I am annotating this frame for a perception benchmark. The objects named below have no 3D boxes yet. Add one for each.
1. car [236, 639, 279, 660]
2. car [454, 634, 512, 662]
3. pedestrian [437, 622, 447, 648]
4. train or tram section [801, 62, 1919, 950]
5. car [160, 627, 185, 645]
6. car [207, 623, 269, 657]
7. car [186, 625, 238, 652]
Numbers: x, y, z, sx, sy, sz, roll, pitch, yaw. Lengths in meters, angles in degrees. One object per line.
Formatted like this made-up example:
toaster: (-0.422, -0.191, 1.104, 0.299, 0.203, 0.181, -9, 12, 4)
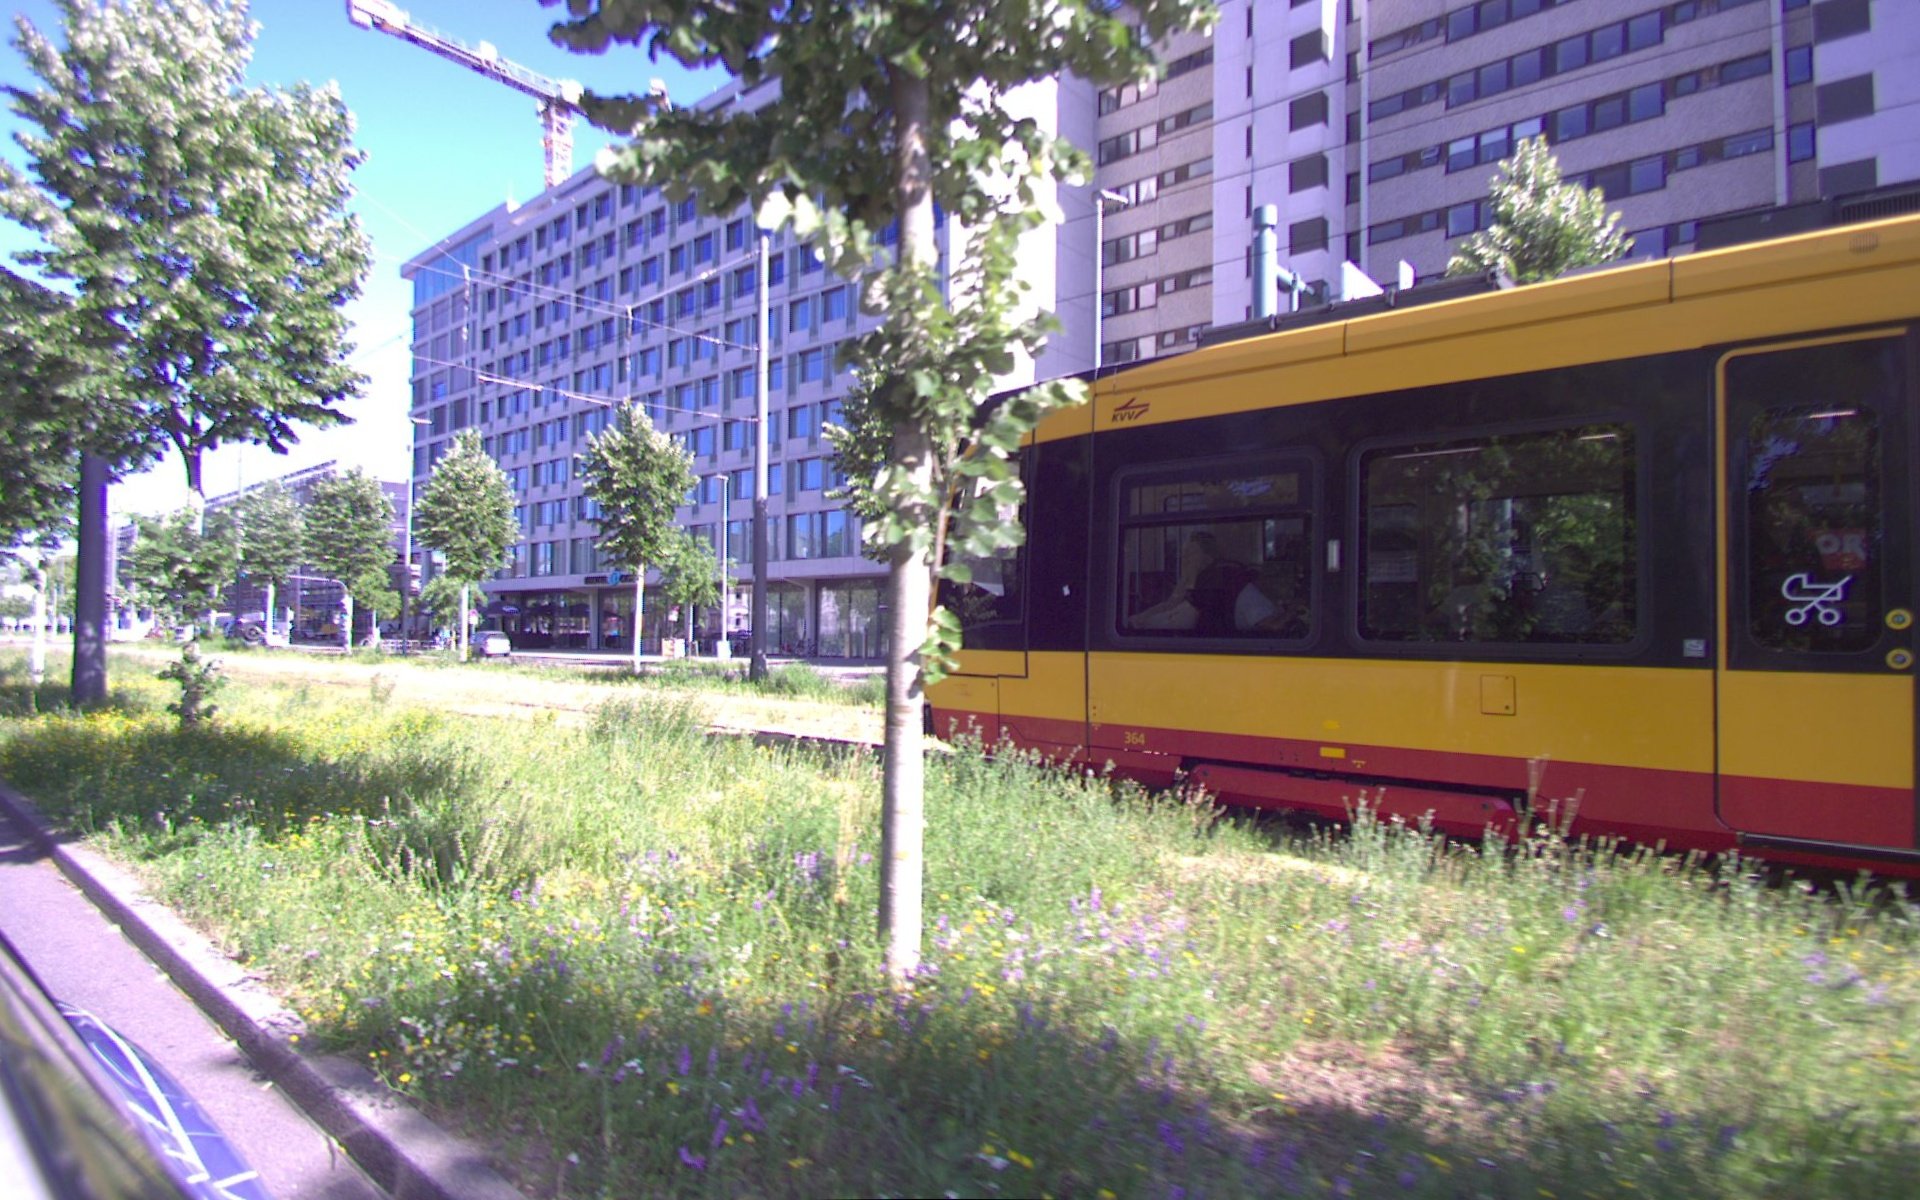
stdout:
car: (-53.592, 3.744, 77.211, 3.811, 1.519, 1.804, -1, -1, 41)
car: (-29.045, 2.901, 61.615, 3.771, 1.561, 1.841, -1, -1, 41)
pedestrian: (-36.178, 2.430, 70.652, 0.501, 1.854, 0.516, 1, -2, -38)
train or tram section: (4.659, -0.389, 4.933, 14.140, 3.697, 1.973, -1, -1, 40)
car: (-77.646, 3.549, 99.793, 1.749, 1.686, 3.899, 0, -1, -35)
car: (-41.101, 2.223, 57.562, 4.284, 1.833, 1.972, -1, -1, 42)
car: (-46.138, 2.353, 62.400, 3.998, 1.564, 1.707, -1, -1, 41)
